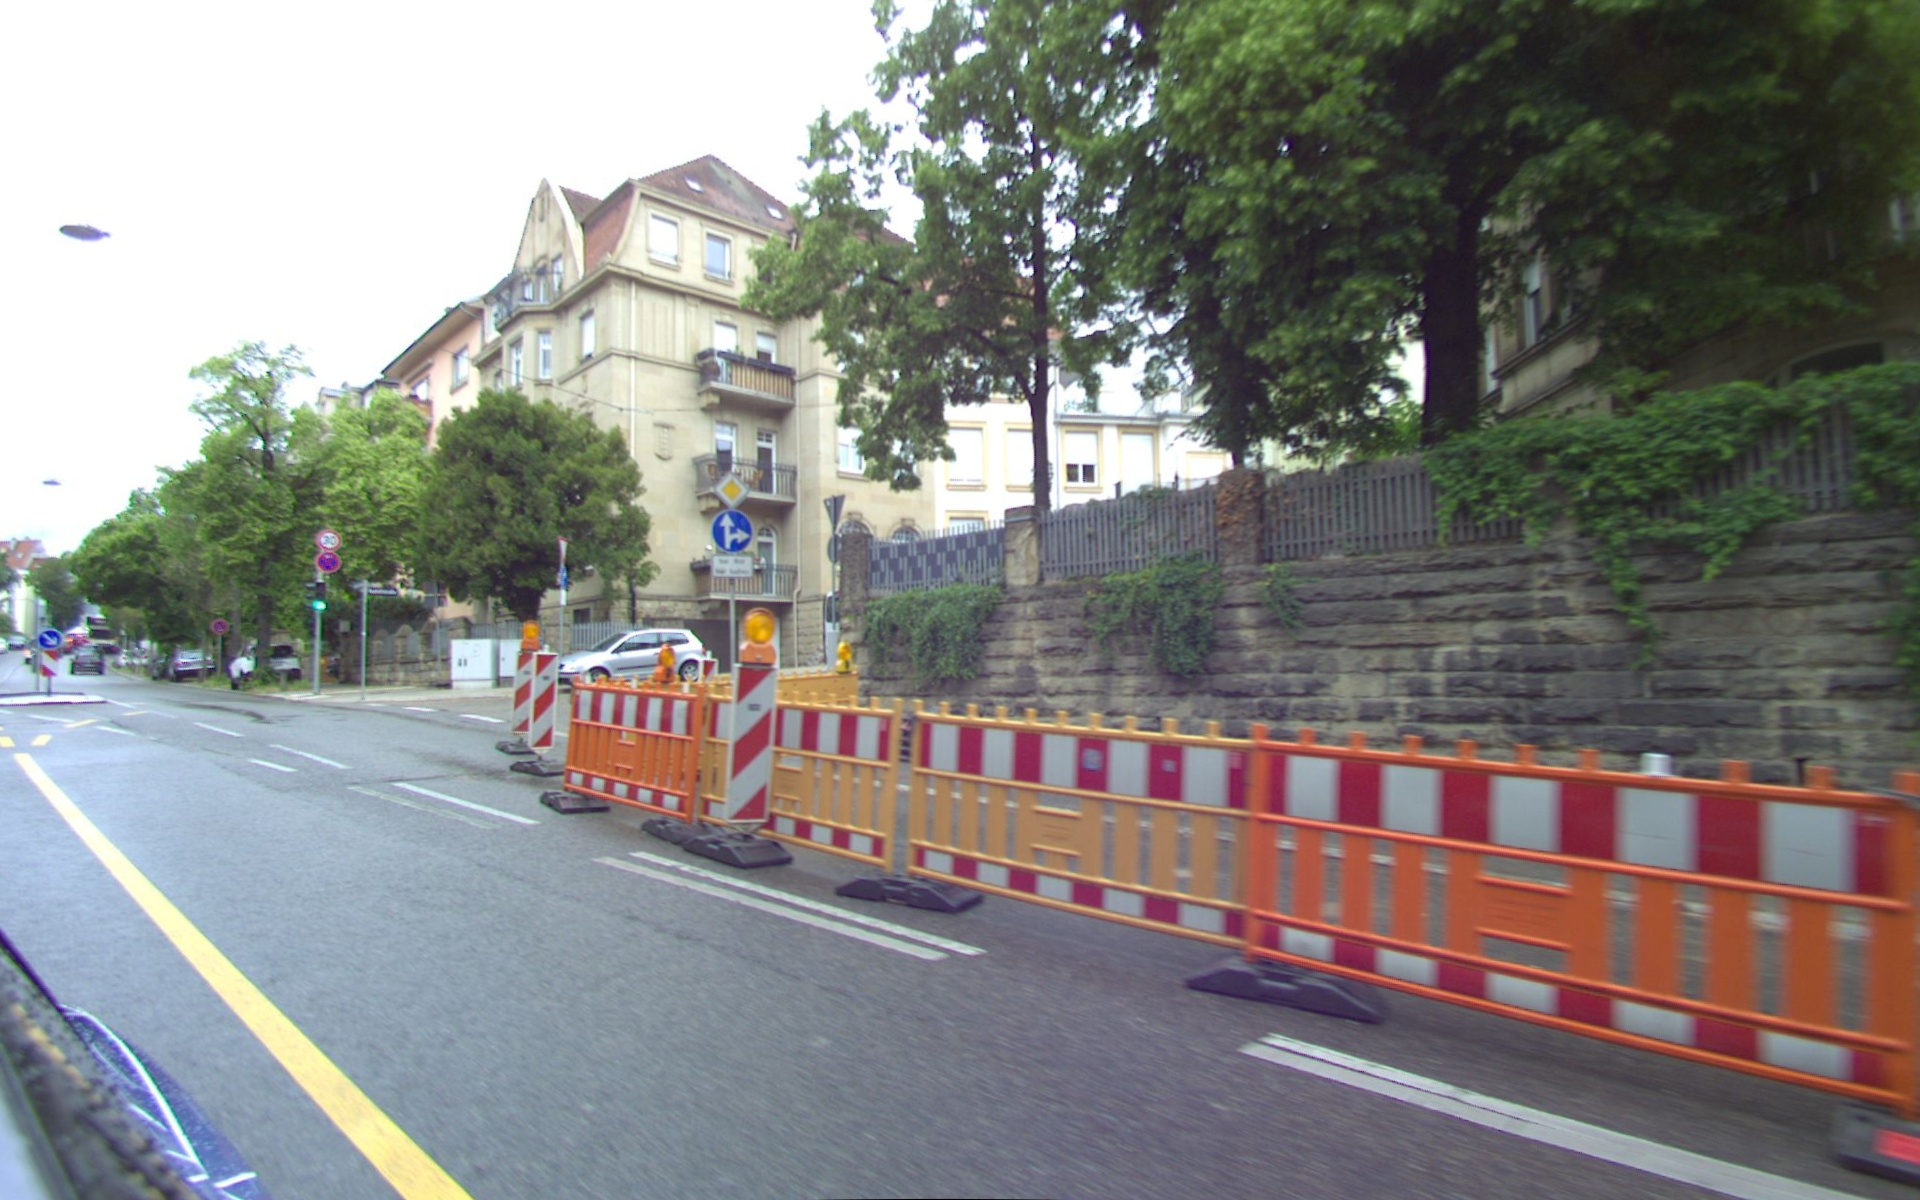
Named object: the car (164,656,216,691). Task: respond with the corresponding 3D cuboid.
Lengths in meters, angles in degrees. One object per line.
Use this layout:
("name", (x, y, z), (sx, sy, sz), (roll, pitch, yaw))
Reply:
("car", (-39.162, 3.711, 51.461), (1.720, 1.571, 4.307), (0, -1, -42))

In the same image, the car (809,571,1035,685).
("car", (-0.858, 0.610, 23.264), (4.599, 2.063, 2.032), (-6, -1, -29))

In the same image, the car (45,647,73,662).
("car", (-92.619, 5.583, 104.030), (1.689, 1.491, 4.123), (4, -5, -37))

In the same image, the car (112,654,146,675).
("car", (-68.096, 5.295, 82.895), (1.721, 1.571, 4.304), (0, -2, -45))

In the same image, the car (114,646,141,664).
("car", (-84.081, 5.583, 102.270), (1.970, 1.607, 3.835), (-2, 0, -38))

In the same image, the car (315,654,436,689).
("car", (-23.818, 2.905, 41.341), (3.940, 1.337, 1.838), (3, -5, -44))

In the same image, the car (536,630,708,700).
("car", (-8.722, 1.626, 26.242), (3.813, 1.419, 1.830), (-3, 2, -38))

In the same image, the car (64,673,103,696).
("car", (-61.949, 5.959, 71.521), (1.794, 1.529, 4.551), (4, -8, -43))

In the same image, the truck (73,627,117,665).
("truck", (-94.513, 5.042, 110.569), (9.309, 3.884, 2.618), (-3, -5, 44))

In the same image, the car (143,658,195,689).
("car", (-44.884, 4.139, 57.408), (4.303, 1.571, 1.722), (-2, 0, 44))

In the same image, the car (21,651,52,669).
("car", (-80.218, 5.204, 87.981), (1.750, 1.529, 4.106), (3, -3, -40))

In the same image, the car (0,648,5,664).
("car", (-101.460, 5.835, 105.778), (1.896, 1.573, 4.020), (6, -5, -38))

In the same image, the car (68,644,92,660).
("car", (-100.088, 5.920, 115.141), (1.630, 1.721, 4.123), (4, -3, -37))

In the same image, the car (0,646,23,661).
("car", (-106.989, 6.003, 113.807), (1.896, 1.573, 4.020), (6, -6, -38))

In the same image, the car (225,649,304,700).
("car", (-24.439, 2.551, 35.497), (1.720, 1.571, 4.307), (0, -1, -42))

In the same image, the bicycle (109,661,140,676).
("bicycle", (-70.133, 5.764, 84.948), (1.952, 1.245, 0.658), (3, -4, -43))
